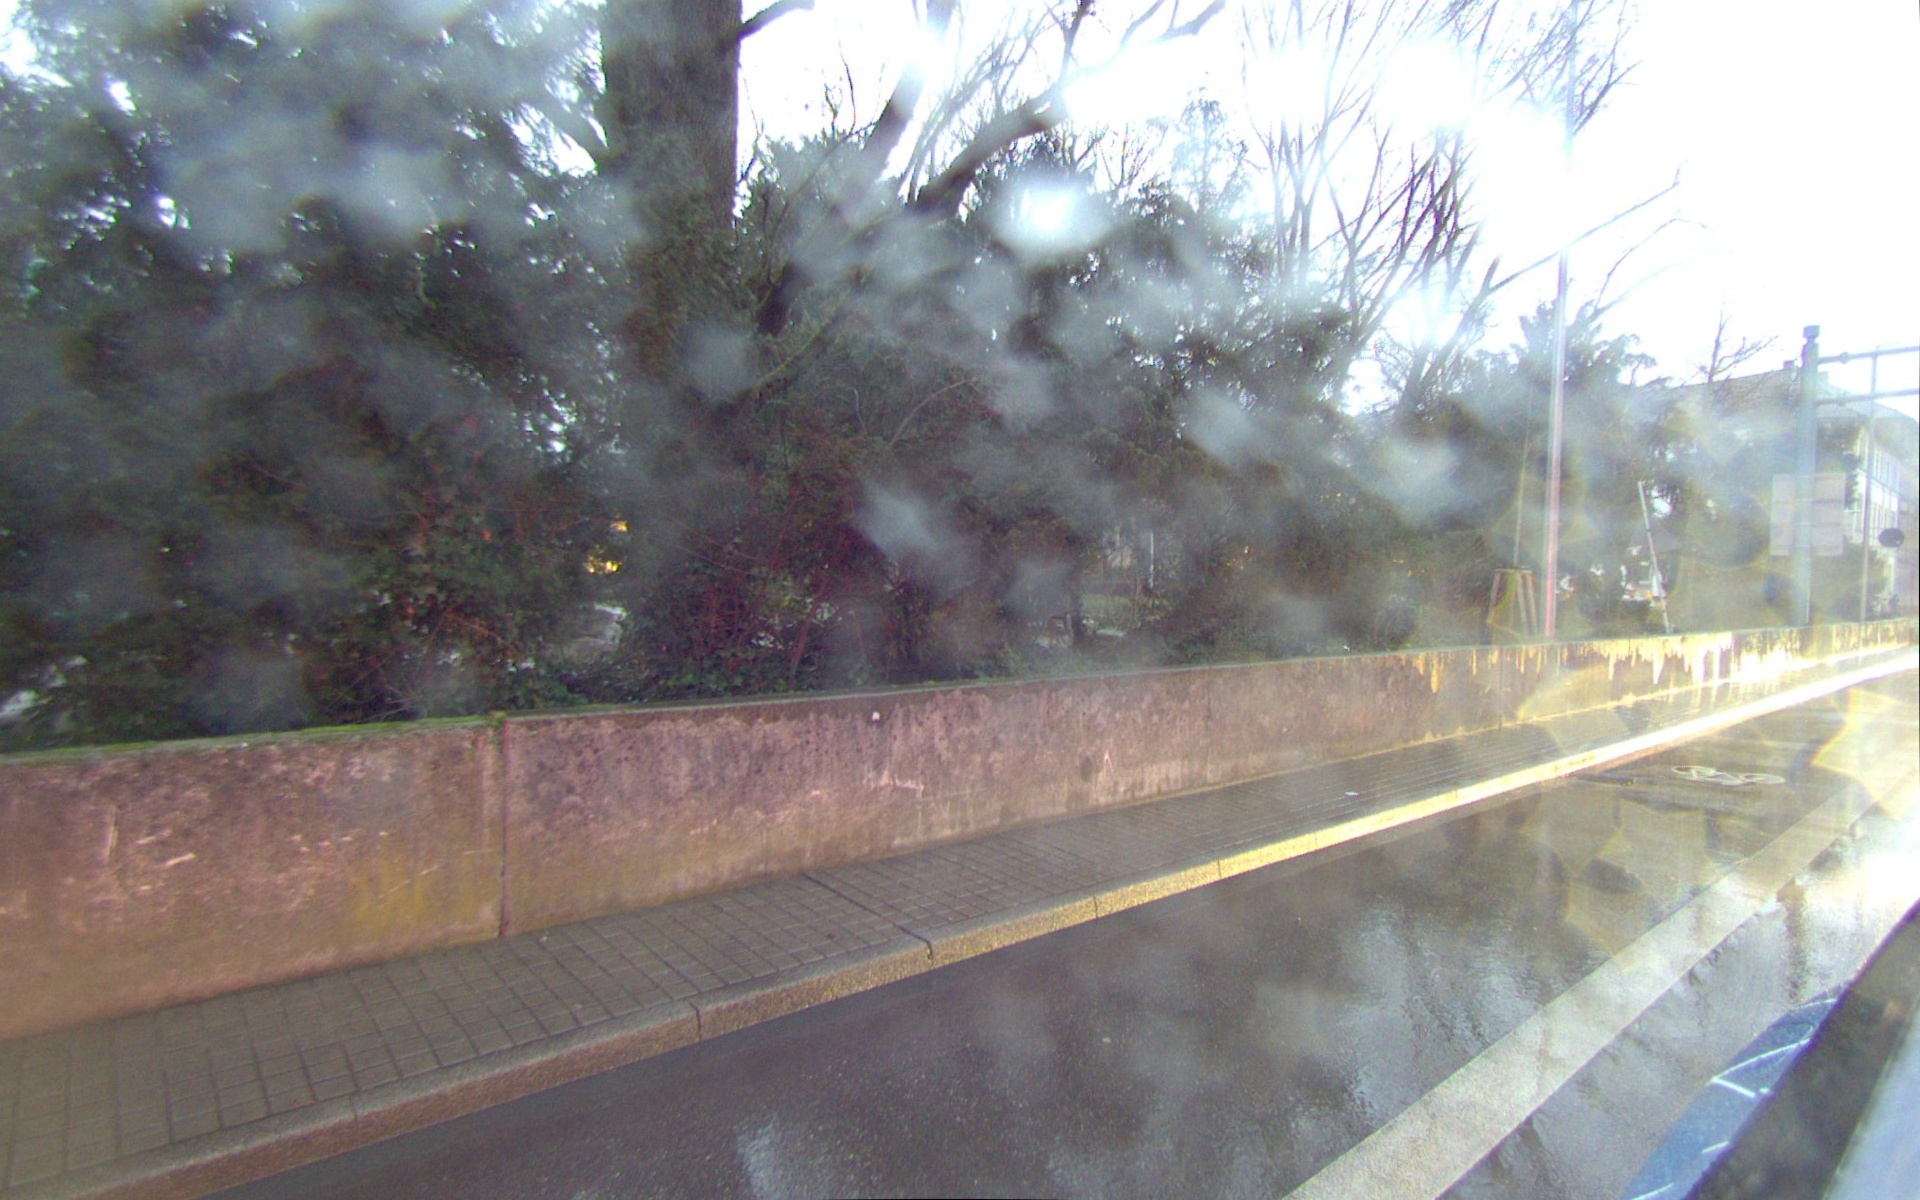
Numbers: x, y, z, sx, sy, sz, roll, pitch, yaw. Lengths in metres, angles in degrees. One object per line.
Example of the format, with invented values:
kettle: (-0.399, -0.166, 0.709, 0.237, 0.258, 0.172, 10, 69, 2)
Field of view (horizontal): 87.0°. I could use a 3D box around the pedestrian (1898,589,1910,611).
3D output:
pedestrian: (65.925, 0.016, 70.665, 0.577, 1.529, 0.520, 0, 2, -41)
